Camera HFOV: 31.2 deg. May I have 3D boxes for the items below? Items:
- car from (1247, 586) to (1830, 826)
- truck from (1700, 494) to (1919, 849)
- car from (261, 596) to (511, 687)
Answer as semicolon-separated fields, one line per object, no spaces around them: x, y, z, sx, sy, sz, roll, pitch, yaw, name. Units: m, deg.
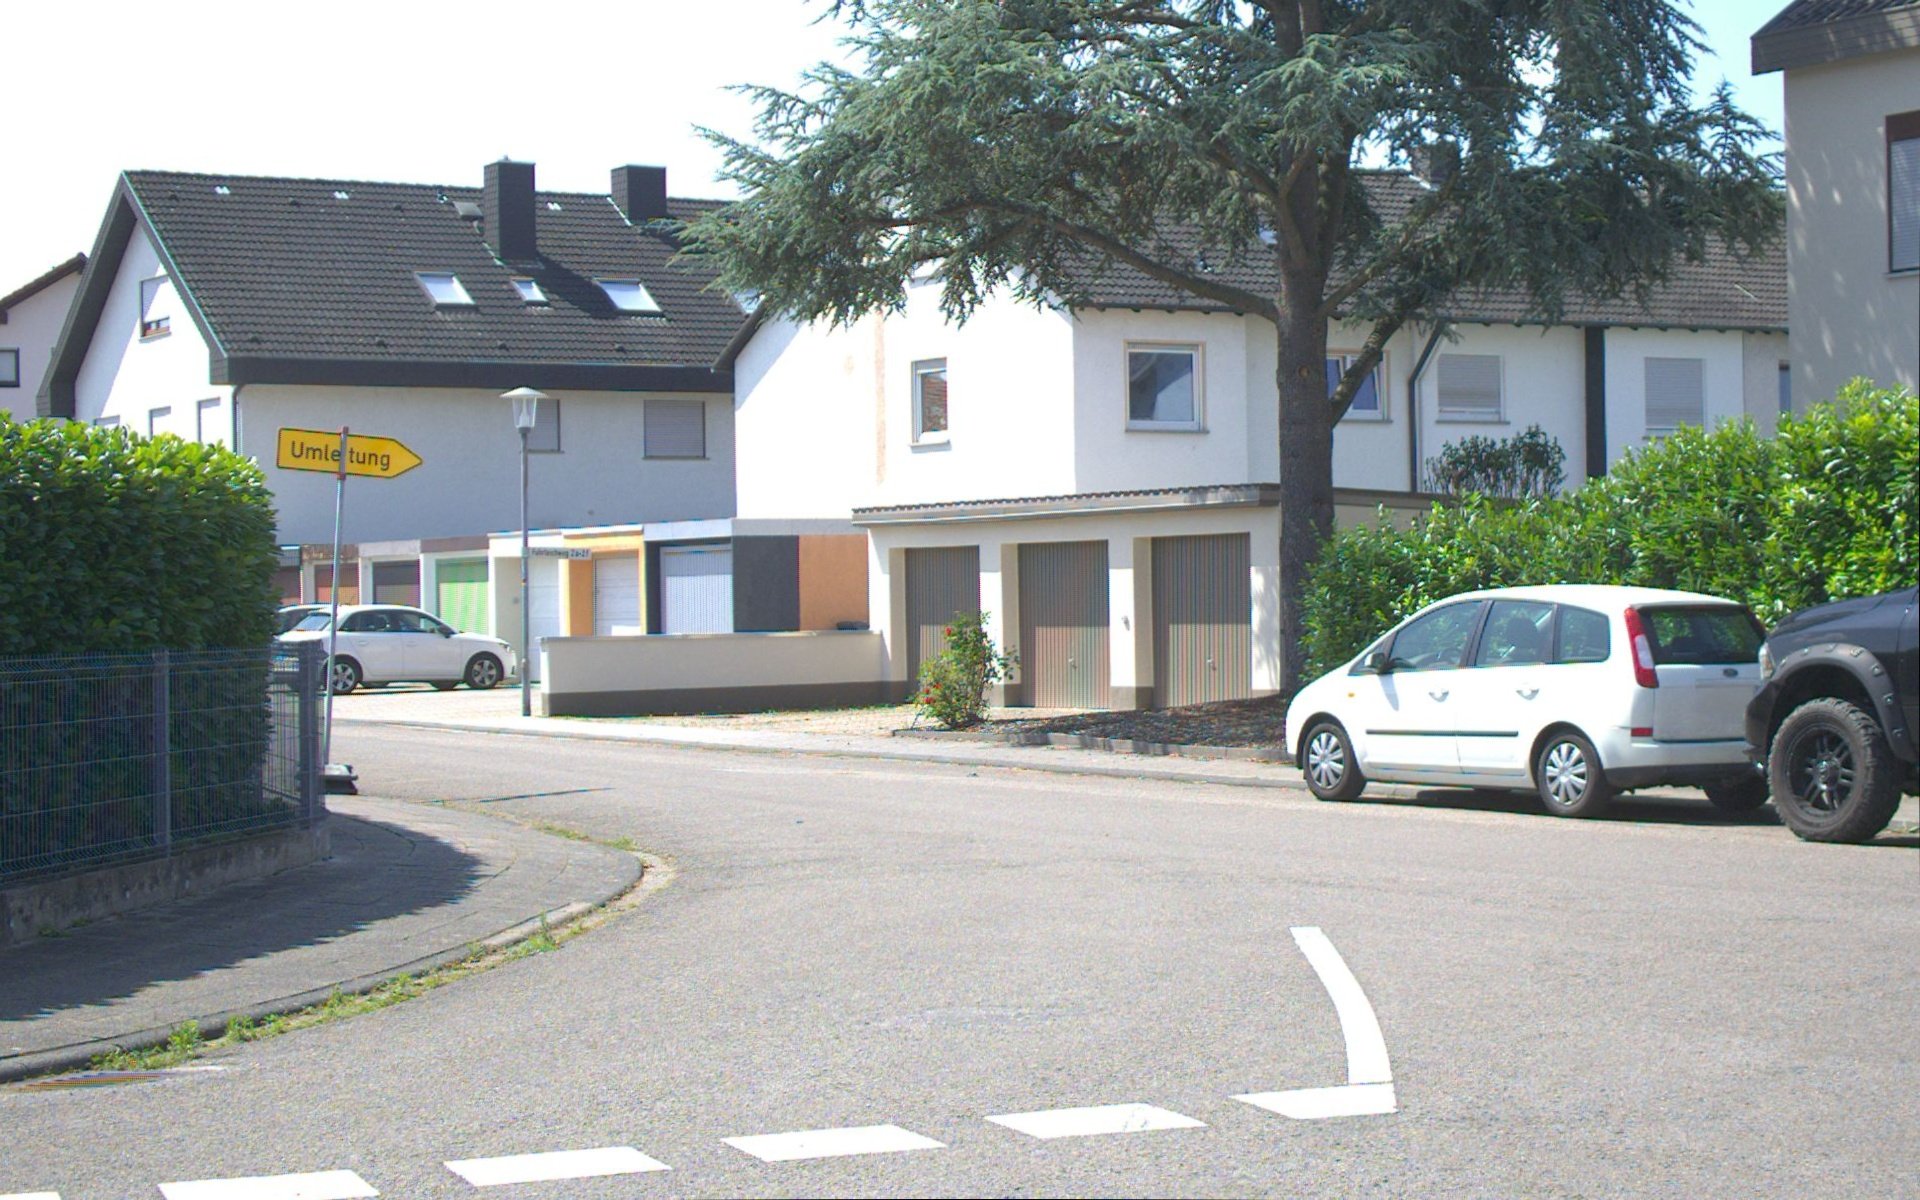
4.064;0.700;24.773;1.798;1.558;4.143;-1;0;-33;car
7.080;0.439;19.106;2.363;2.007;5.712;3;-2;-34;truck
-9.321;0.656;55.889;3.599;1.404;1.784;-1;0;-31;car
